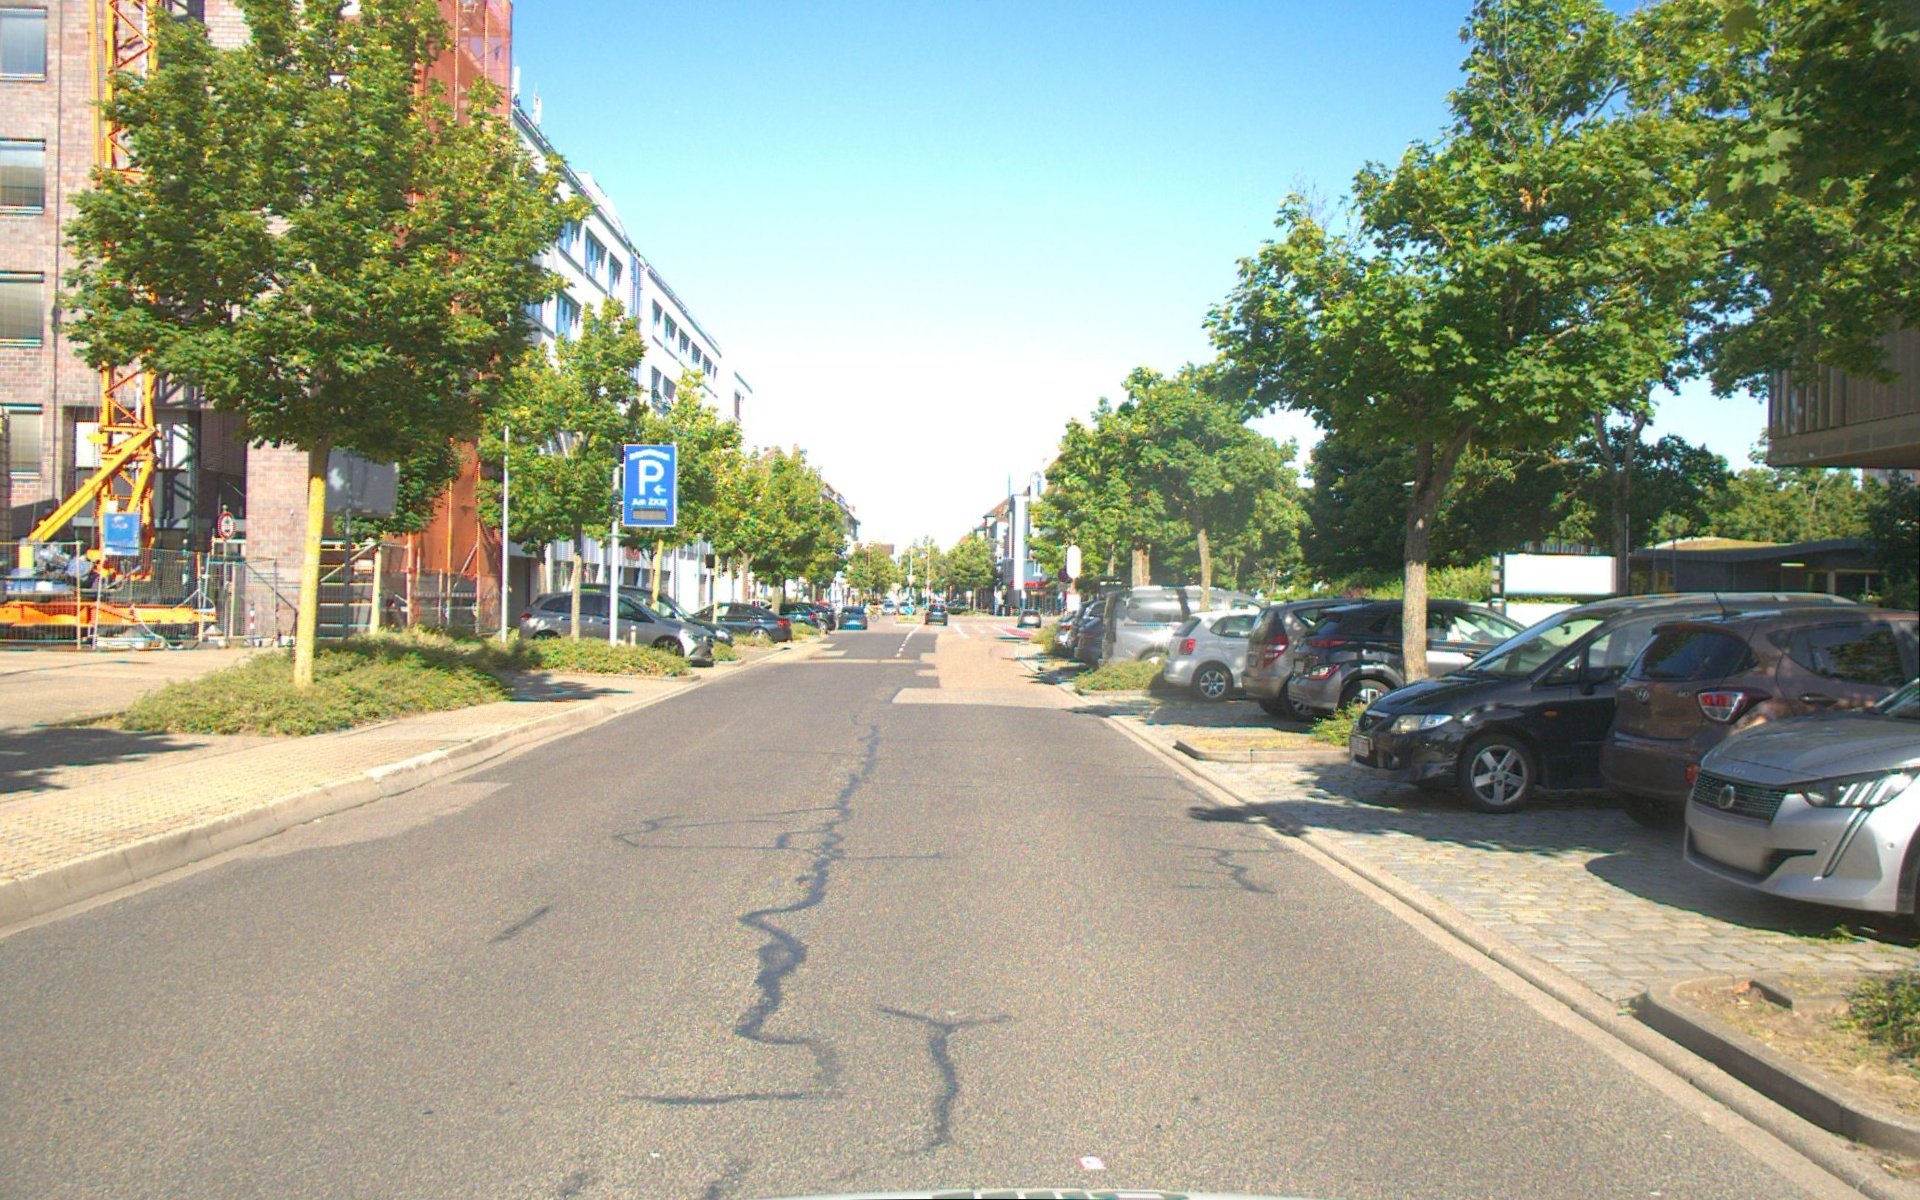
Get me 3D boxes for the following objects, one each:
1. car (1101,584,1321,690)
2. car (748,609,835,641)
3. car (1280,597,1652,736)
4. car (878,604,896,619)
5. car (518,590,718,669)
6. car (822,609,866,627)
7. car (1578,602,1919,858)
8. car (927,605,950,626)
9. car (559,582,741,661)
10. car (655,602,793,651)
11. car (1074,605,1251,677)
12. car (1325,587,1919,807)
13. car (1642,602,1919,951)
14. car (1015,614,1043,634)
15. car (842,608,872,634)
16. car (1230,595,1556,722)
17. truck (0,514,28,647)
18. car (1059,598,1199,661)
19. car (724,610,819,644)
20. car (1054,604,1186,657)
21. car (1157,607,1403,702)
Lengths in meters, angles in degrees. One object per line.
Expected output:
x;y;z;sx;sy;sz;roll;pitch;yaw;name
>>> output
4.697;0.671;31.315;3.905;1.912;1.682;0;1;-1;car
-8.532;1.257;84.010;4.243;1.500;1.817;0;1;-2;car
5.965;0.776;19.829;3.905;1.565;1.861;0;-1;-1;car
-8.871;1.381;201.018;1.832;1.671;3.927;1;1;2;car
-7.650;0.637;37.220;4.176;1.694;1.599;0;1;-2;car
-10.452;1.604;148.533;3.910;1.588;1.998;0;1;-6;car
6.268;0.801;10.882;3.785;1.531;1.651;1;0;-4;car
-1.663;1.219;131.437;1.774;1.500;4.110;0;1;0;car
-7.806;0.523;41.936;4.242;1.894;1.818;1;1;0;car
-7.496;0.837;52.847;4.246;1.500;1.816;0;1;-5;car
4.485;0.896;37.066;3.831;1.500;1.796;1;1;3;car
5.126;0.713;13.120;4.061;1.607;1.740;0;0;-2;car
5.631;0.786;8.156;3.822;1.512;1.742;1;0;-2;car
5.654;1.935;135.579;1.950;1.500;4.108;0;1;-3;car
-6.480;1.308;104.457;1.775;1.500;4.109;0;1;-2;car
5.786;0.766;22.470;3.905;1.610;2.031;0;-1;-1;car
-22.108;-0.405;32.108;6.717;2.591;2.280;1;1;0;truck
4.708;0.812;46.560;3.831;1.671;1.878;1;1;3;car
-8.748;1.268;77.081;4.243;1.500;1.817;0;1;-2;car
4.697;0.917;48.956;3.831;1.500;1.758;1;-2;3;car
5.234;0.882;27.363;3.689;1.485;1.817;0;-1;-2;car
